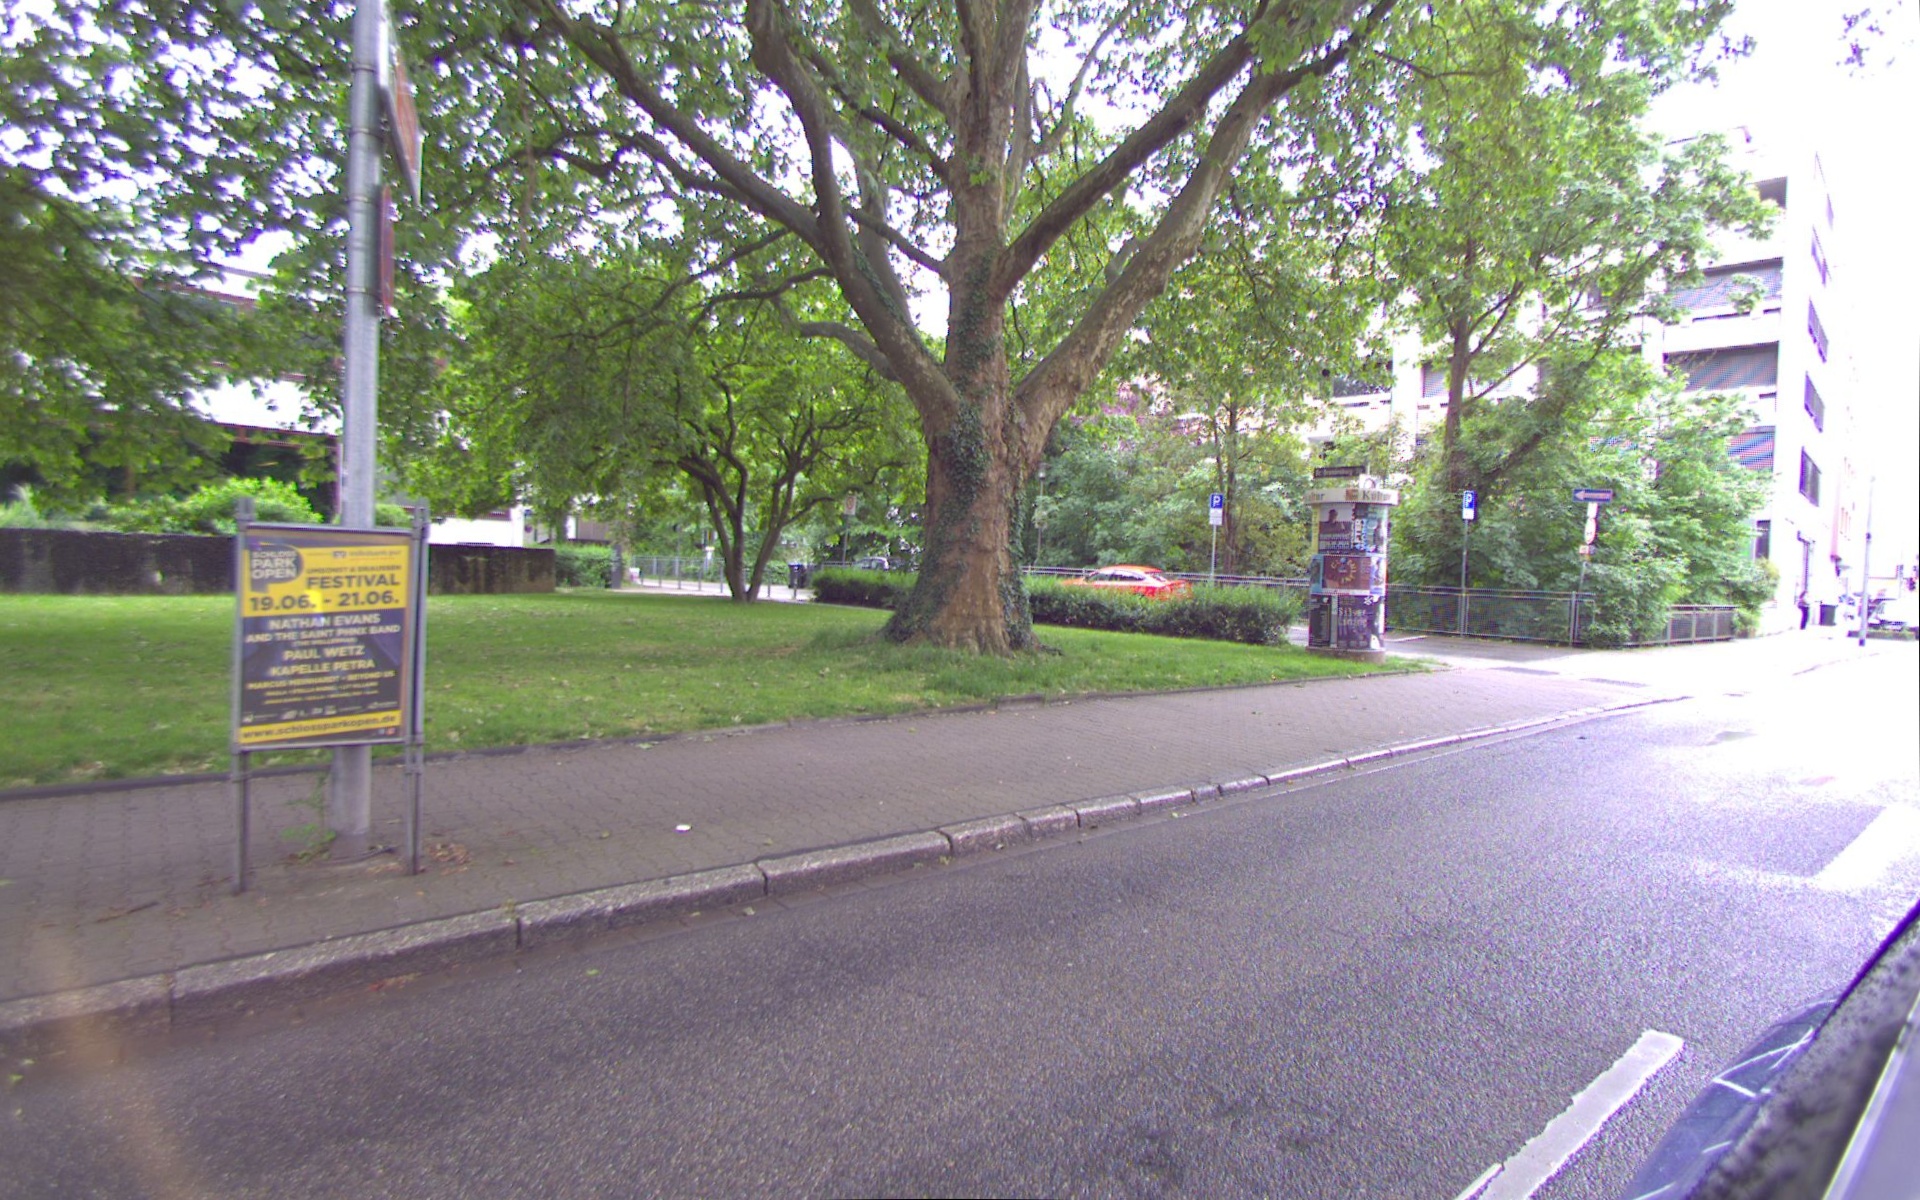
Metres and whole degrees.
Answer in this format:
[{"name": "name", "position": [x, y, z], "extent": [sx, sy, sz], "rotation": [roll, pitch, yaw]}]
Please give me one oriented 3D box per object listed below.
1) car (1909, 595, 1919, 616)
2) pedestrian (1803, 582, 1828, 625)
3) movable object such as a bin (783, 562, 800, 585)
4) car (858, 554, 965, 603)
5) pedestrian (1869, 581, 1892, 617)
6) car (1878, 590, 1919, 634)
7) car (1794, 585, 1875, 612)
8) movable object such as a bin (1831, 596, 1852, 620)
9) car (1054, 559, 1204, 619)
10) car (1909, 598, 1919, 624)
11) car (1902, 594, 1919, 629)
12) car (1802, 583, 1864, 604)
[{"name": "car", "position": [65.828, 0.462, 66.830], "extent": [1.450, 1.402, 4.460], "rotation": [0, 2, -42]}, {"name": "pedestrian", "position": [34.732, 0.121, 41.082], "extent": [0.598, 1.679, 0.681], "rotation": [7, 4, 42]}, {"name": "movable object such as a bin", "position": [-7.187, -1.115, 43.160], "extent": [0.573, 0.986, 0.512], "rotation": [0, 0, -41]}, {"name": "car", "position": [-1.827, -0.810, 37.089], "extent": [1.707, 1.590, 3.925], "rotation": [0, 3, -45]}, {"name": "pedestrian", "position": [56.602, -0.073, 62.231], "extent": [0.797, 2.179, 0.732], "rotation": [2, 1, 26]}, {"name": "car", "position": [37.424, 0.476, 39.715], "extent": [3.741, 1.577, 1.705], "rotation": [0, 4, -43]}, {"name": "car", "position": [62.168, -0.127, 71.999], "extent": [1.770, 1.604, 4.155], "rotation": [0, 3, -41]}, {"name": "movable object such as a bin", "position": [42.174, 0.390, 48.422], "extent": [0.505, 1.117, 0.680], "rotation": [0, 2, -42]}, {"name": "car", "position": [4.903, -0.377, 29.743], "extent": [3.989, 1.499, 1.847], "rotation": [5, 5, 44]}, {"name": "car", "position": [60.293, 0.792, 60.932], "extent": [1.763, 1.604, 4.171], "rotation": [2, 2, -18]}, {"name": "car", "position": [42.624, 0.531, 44.161], "extent": [4.493, 1.437, 1.834], "rotation": [0, 3, -43]}, {"name": "car", "position": [79.743, -0.586, 92.501], "extent": [1.801, 1.732, 3.801], "rotation": [1, 2, -21]}]
